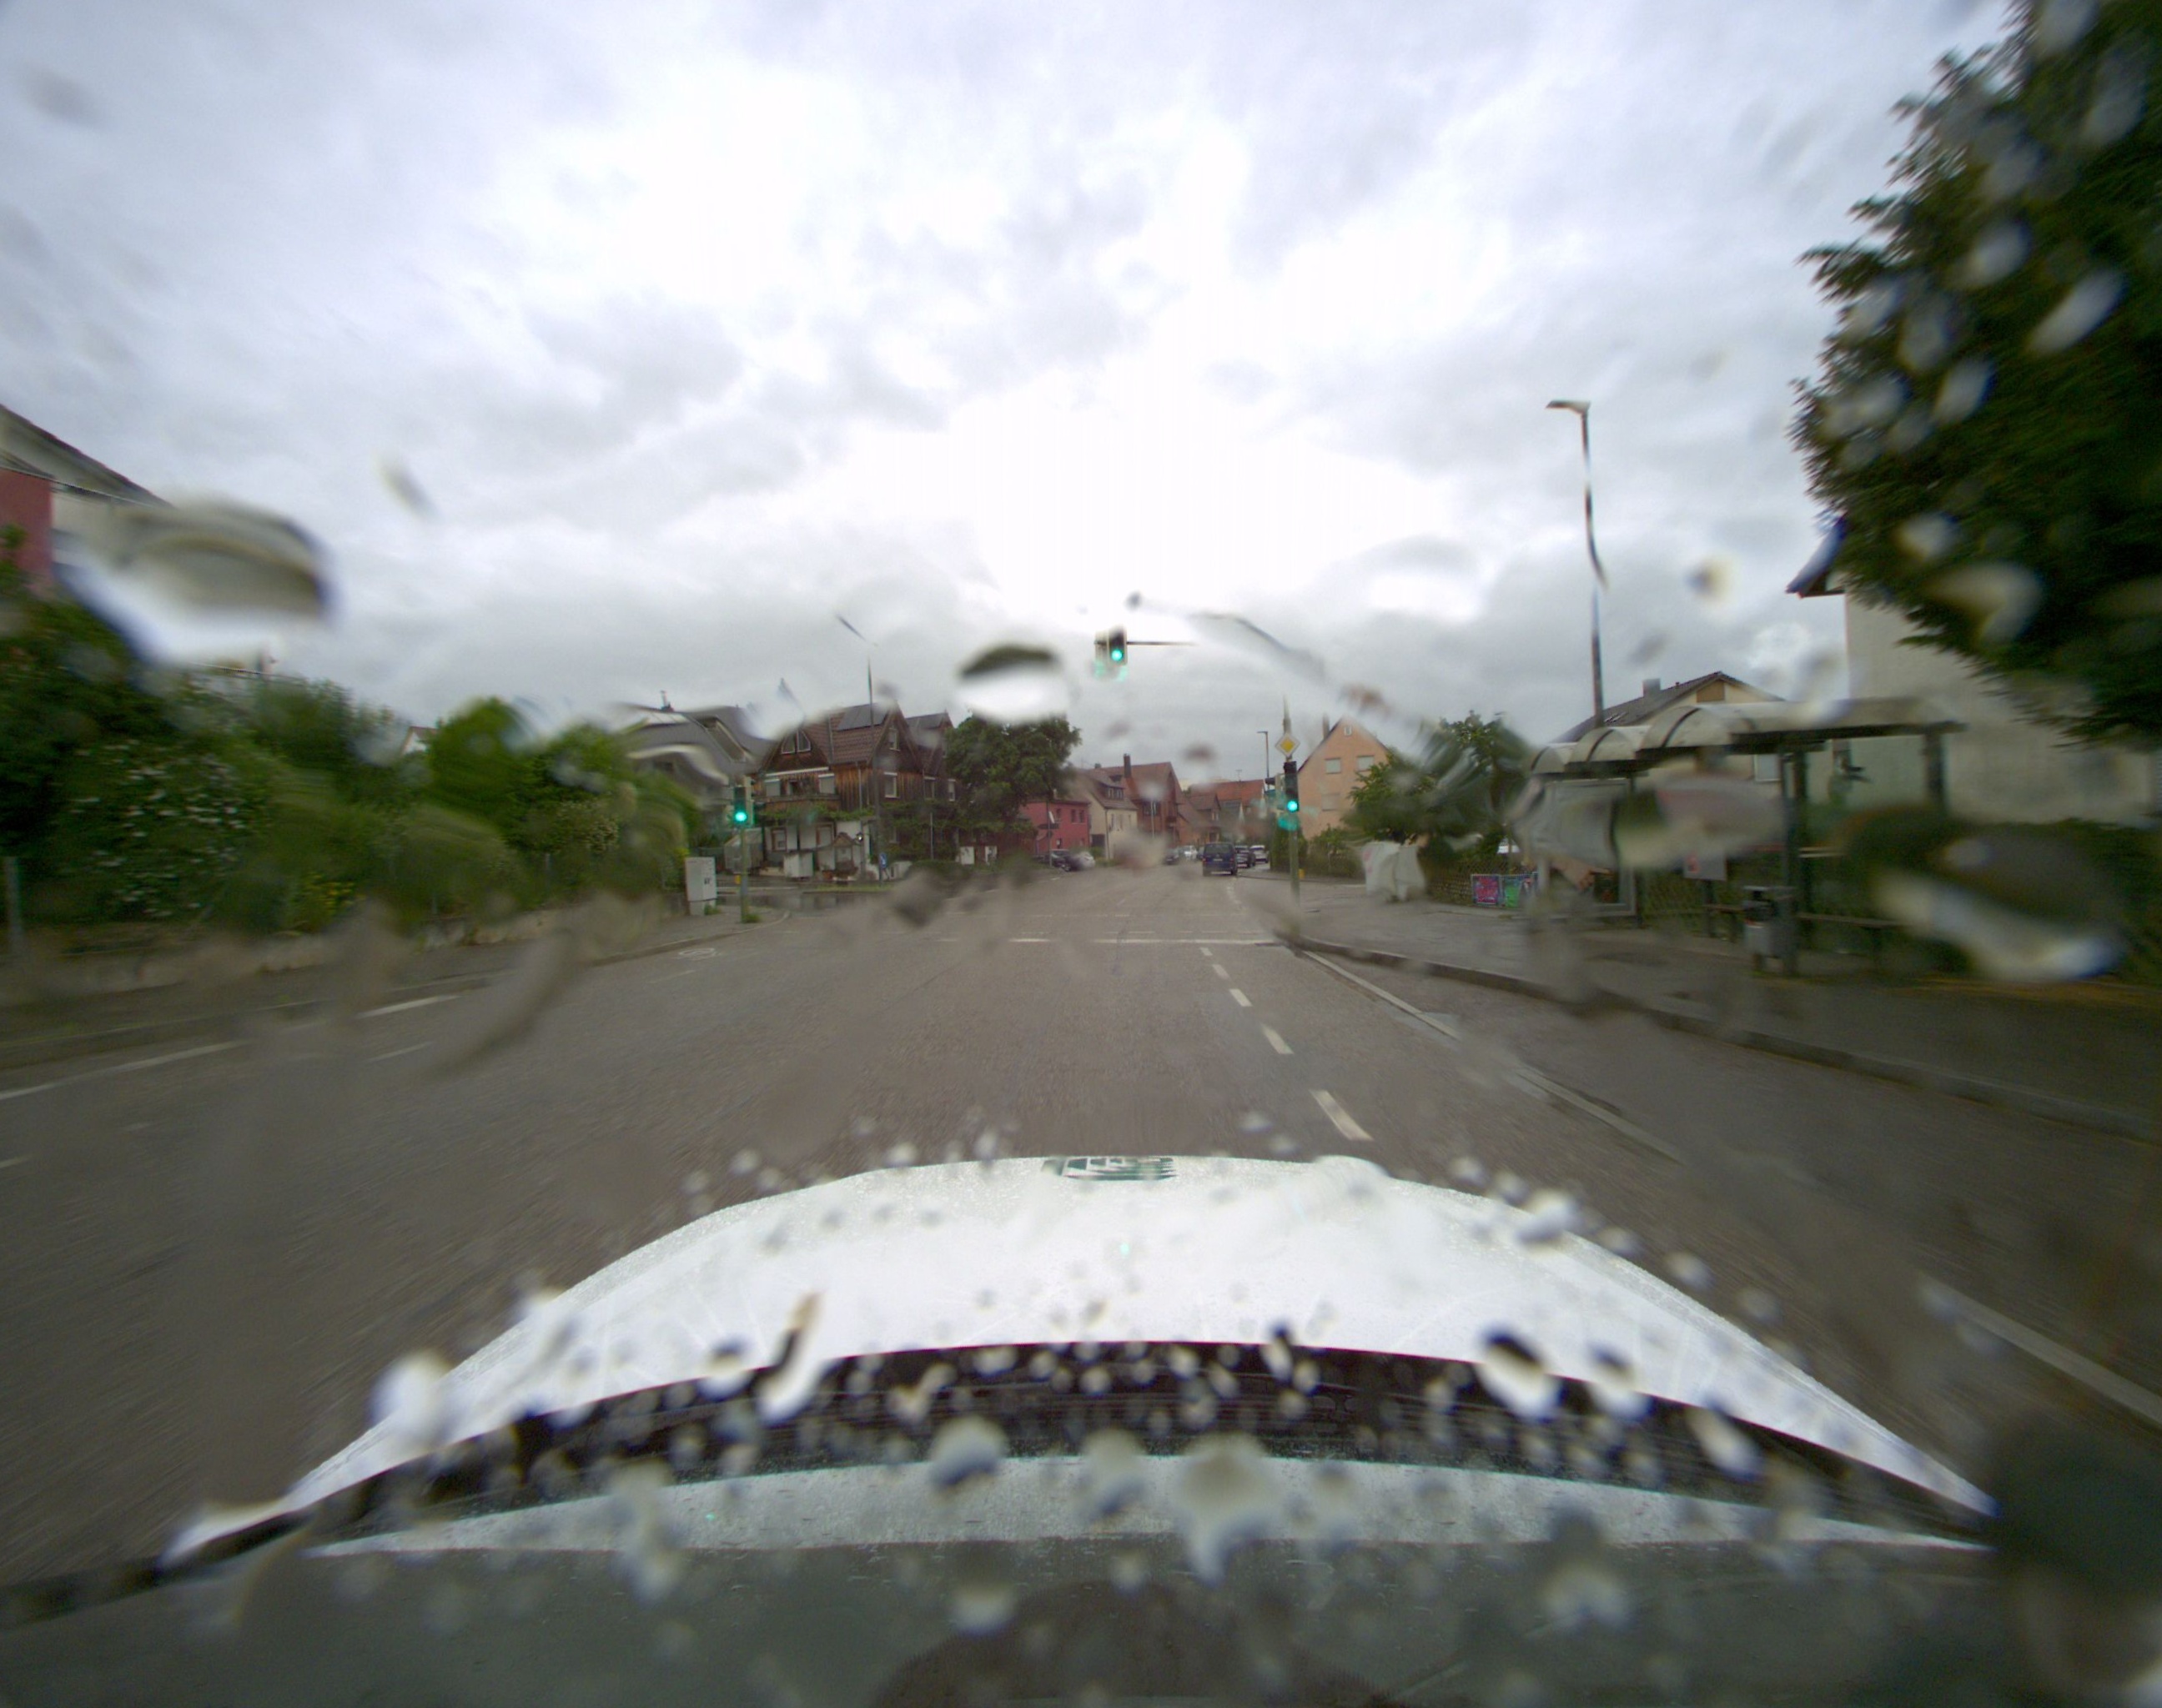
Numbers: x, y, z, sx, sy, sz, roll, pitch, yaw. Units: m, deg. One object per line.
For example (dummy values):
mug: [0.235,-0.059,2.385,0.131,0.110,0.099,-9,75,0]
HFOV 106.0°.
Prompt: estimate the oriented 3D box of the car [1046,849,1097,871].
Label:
car: [-0.719,0.423,61.025,3.431,1.479,1.599,-3,0,22]

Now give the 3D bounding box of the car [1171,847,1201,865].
car: [10.176,0.173,78.671,1.749,1.619,4.680,-3,0,20]

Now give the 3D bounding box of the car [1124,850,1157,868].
car: [4.720,0.358,64.427,1.613,1.355,4.131,0,1,19]

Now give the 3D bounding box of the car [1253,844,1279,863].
car: [16.592,-0.043,72.894,1.788,1.595,4.633,-1,0,18]

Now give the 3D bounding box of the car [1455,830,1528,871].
car: [22.459,-0.236,44.766,1.935,2.083,5.196,-1,1,7]

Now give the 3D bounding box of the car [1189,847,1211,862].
car: [12.906,0.049,87.869,1.565,1.497,3.586,-3,0,21]

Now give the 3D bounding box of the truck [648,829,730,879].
truck: [-21.965,-0.029,45.763,1.760,2.613,3.866,-3,0,22]

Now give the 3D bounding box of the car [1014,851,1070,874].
car: [-2.695,0.577,55.877,3.416,1.418,1.641,-3,0,22]

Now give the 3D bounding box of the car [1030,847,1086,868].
car: [-1.643,0.231,58.848,3.544,1.506,1.866,0,1,24]

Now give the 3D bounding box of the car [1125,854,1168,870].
car: [6.960,0.861,86.411,4.133,1.403,1.800,-3,0,27]

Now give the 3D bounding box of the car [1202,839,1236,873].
car: [8.313,0.113,48.940,1.918,1.902,4.807,-1,0,10]

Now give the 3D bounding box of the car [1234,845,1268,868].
car: [13.273,0.150,63.514,1.892,1.717,4.579,0,1,20]

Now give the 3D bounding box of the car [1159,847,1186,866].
car: [8.383,0.177,74.251,1.591,1.617,3.293,-3,0,21]
